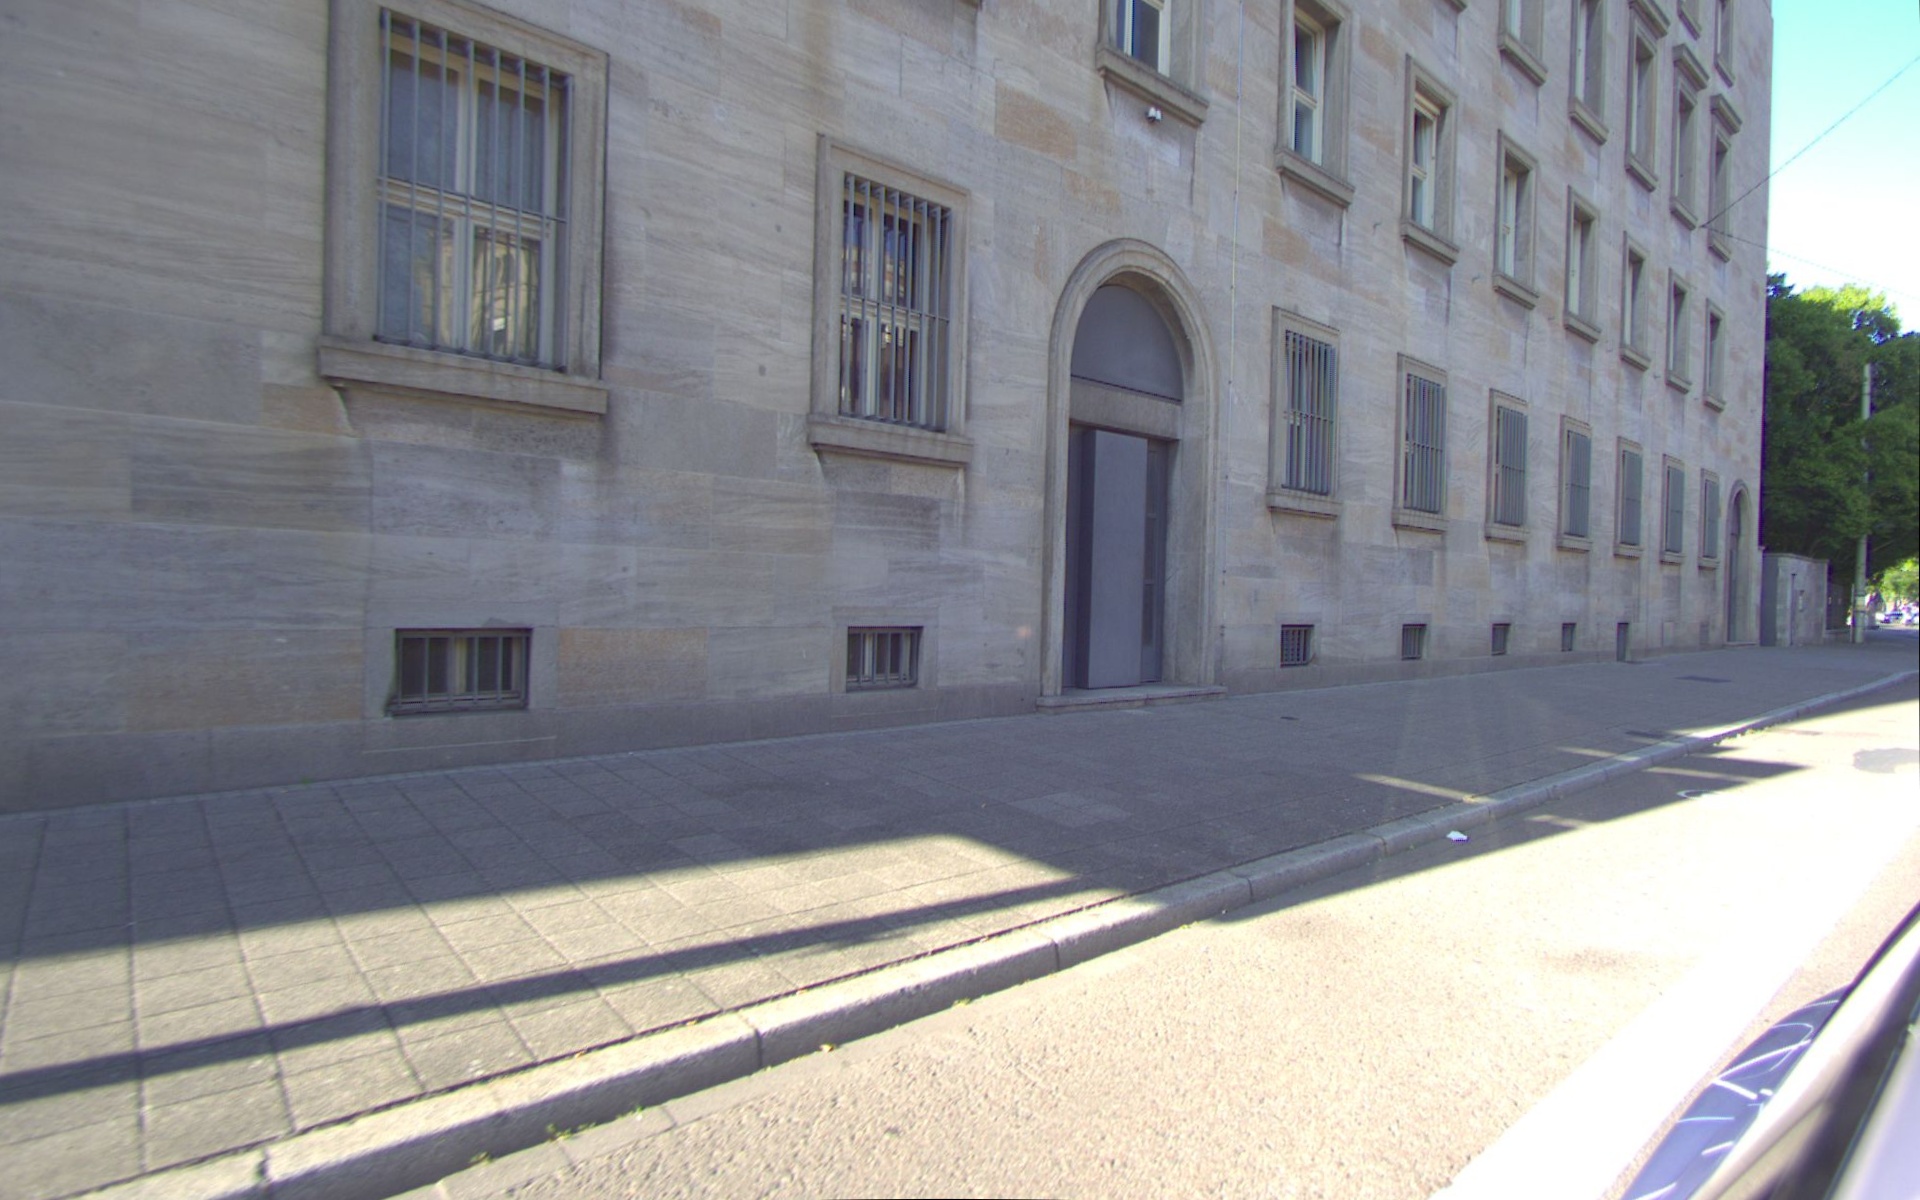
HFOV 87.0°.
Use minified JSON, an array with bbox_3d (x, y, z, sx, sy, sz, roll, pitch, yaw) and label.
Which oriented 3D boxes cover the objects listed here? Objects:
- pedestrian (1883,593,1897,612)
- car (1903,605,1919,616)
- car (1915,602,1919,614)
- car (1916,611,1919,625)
[{"bbox_3d":[87.189,0.247,94.878,0.791,1.742,0.870,1,1,-44],"label":"pedestrian"},{"bbox_3d":[142.033,1.586,149.518,3.742,1.614,1.654,-1,-1,31],"label":"car"},{"bbox_3d":[132.267,1.098,137.120,3.742,1.614,1.654,-1,-1,31],"label":"car"},{"bbox_3d":[106.054,2.015,110.277,1.863,1.621,4.376,2,1,32],"label":"car"}]
